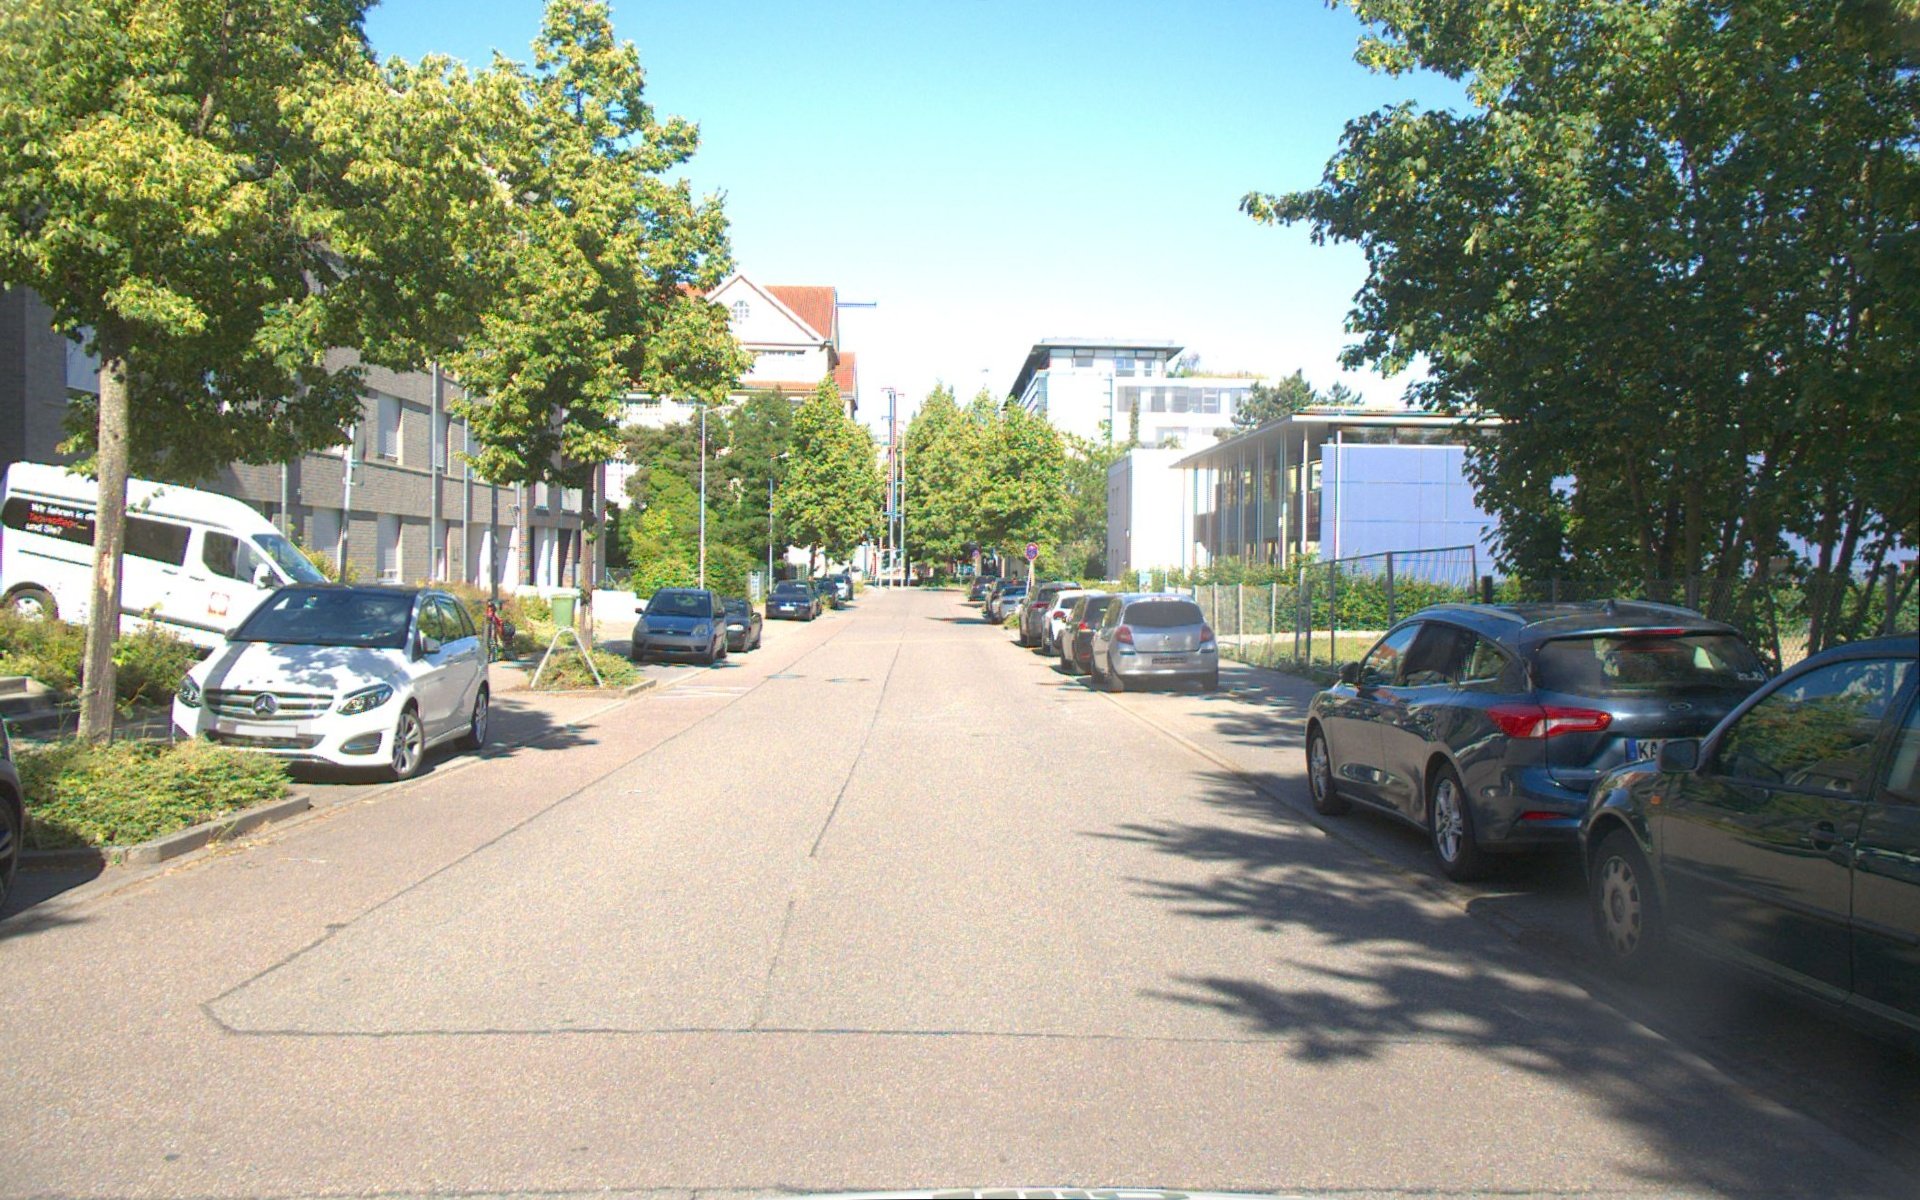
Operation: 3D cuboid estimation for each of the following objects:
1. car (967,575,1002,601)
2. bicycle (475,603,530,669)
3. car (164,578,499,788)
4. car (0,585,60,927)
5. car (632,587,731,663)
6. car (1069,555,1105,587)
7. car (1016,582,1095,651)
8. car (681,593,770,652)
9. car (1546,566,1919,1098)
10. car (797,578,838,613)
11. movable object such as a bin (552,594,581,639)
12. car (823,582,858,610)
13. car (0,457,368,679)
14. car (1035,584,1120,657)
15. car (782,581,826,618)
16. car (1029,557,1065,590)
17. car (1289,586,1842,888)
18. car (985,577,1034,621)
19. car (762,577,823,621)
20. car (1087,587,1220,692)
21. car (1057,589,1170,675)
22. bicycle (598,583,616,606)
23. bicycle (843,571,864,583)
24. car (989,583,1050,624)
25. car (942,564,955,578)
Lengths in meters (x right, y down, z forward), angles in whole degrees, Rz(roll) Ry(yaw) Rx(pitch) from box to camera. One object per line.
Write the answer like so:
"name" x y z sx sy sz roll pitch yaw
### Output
"car" 1.468 -0.711 99.532 1.953 1.512 3.999 0 0 -1
"bicycle" -8.404 0.647 30.447 0.277 1.144 1.986 1 1 5
"car" -5.321 0.596 14.586 1.626 1.559 4.283 0 1 -5
"car" -4.963 0.702 5.998 1.547 1.530 3.787 0 0 -4
"car" -5.775 0.479 34.670 1.578 1.490 3.873 0 1 -3
"car" 8.127 -1.861 106.284 1.953 2.049 3.999 0 1 -1
"car" 2.520 0.397 44.437 1.691 1.681 4.325 -2 1 -2
"car" -5.623 0.511 40.004 1.566 1.238 3.875 2 1 -1
"car" 3.578 0.662 5.384 1.788 1.497 4.067 1 0 -2
"car" -6.817 -0.235 79.381 1.660 1.633 3.941 1 1 -1
"movable object such as a bin" -10.004 0.418 42.093 0.595 1.109 0.636 0 1 -3
"car" -6.703 -0.242 93.059 1.741 1.557 3.999 0 0 -1
"car" -11.666 -0.509 23.776 5.344 2.422 1.920 9 0 -5
"car" 2.753 0.451 39.379 1.646 1.569 3.848 1 2 -1
"car" -6.578 -0.047 69.932 1.597 1.527 3.577 1 1 -1
"car" 5.570 -1.694 106.189 1.983 2.049 3.999 0 1 -1
"car" 3.398 0.662 10.272 1.642 1.463 4.437 1 0 -3
"car" 2.080 -0.057 70.502 1.784 1.748 4.118 -2 1 -2
"car" -6.383 -0.043 63.417 1.725 1.554 4.001 3 0 2
"car" 3.045 0.580 26.714 1.629 1.539 4.000 1 1 -1
"car" 2.859 0.568 31.539 1.653 1.520 4.077 1 0 -2
"bicycle" -13.380 -0.217 62.660 0.248 0.852 1.775 1 2 2
"bicycle" -7.569 -1.644 117.319 1.438 0.857 0.335 0 1 -6
"car" 2.223 0.122 62.939 1.793 1.447 4.230 -2 0 -4
"car" -1.750 -4.440 249.780 1.953 2.048 4.000 1 2 -1
